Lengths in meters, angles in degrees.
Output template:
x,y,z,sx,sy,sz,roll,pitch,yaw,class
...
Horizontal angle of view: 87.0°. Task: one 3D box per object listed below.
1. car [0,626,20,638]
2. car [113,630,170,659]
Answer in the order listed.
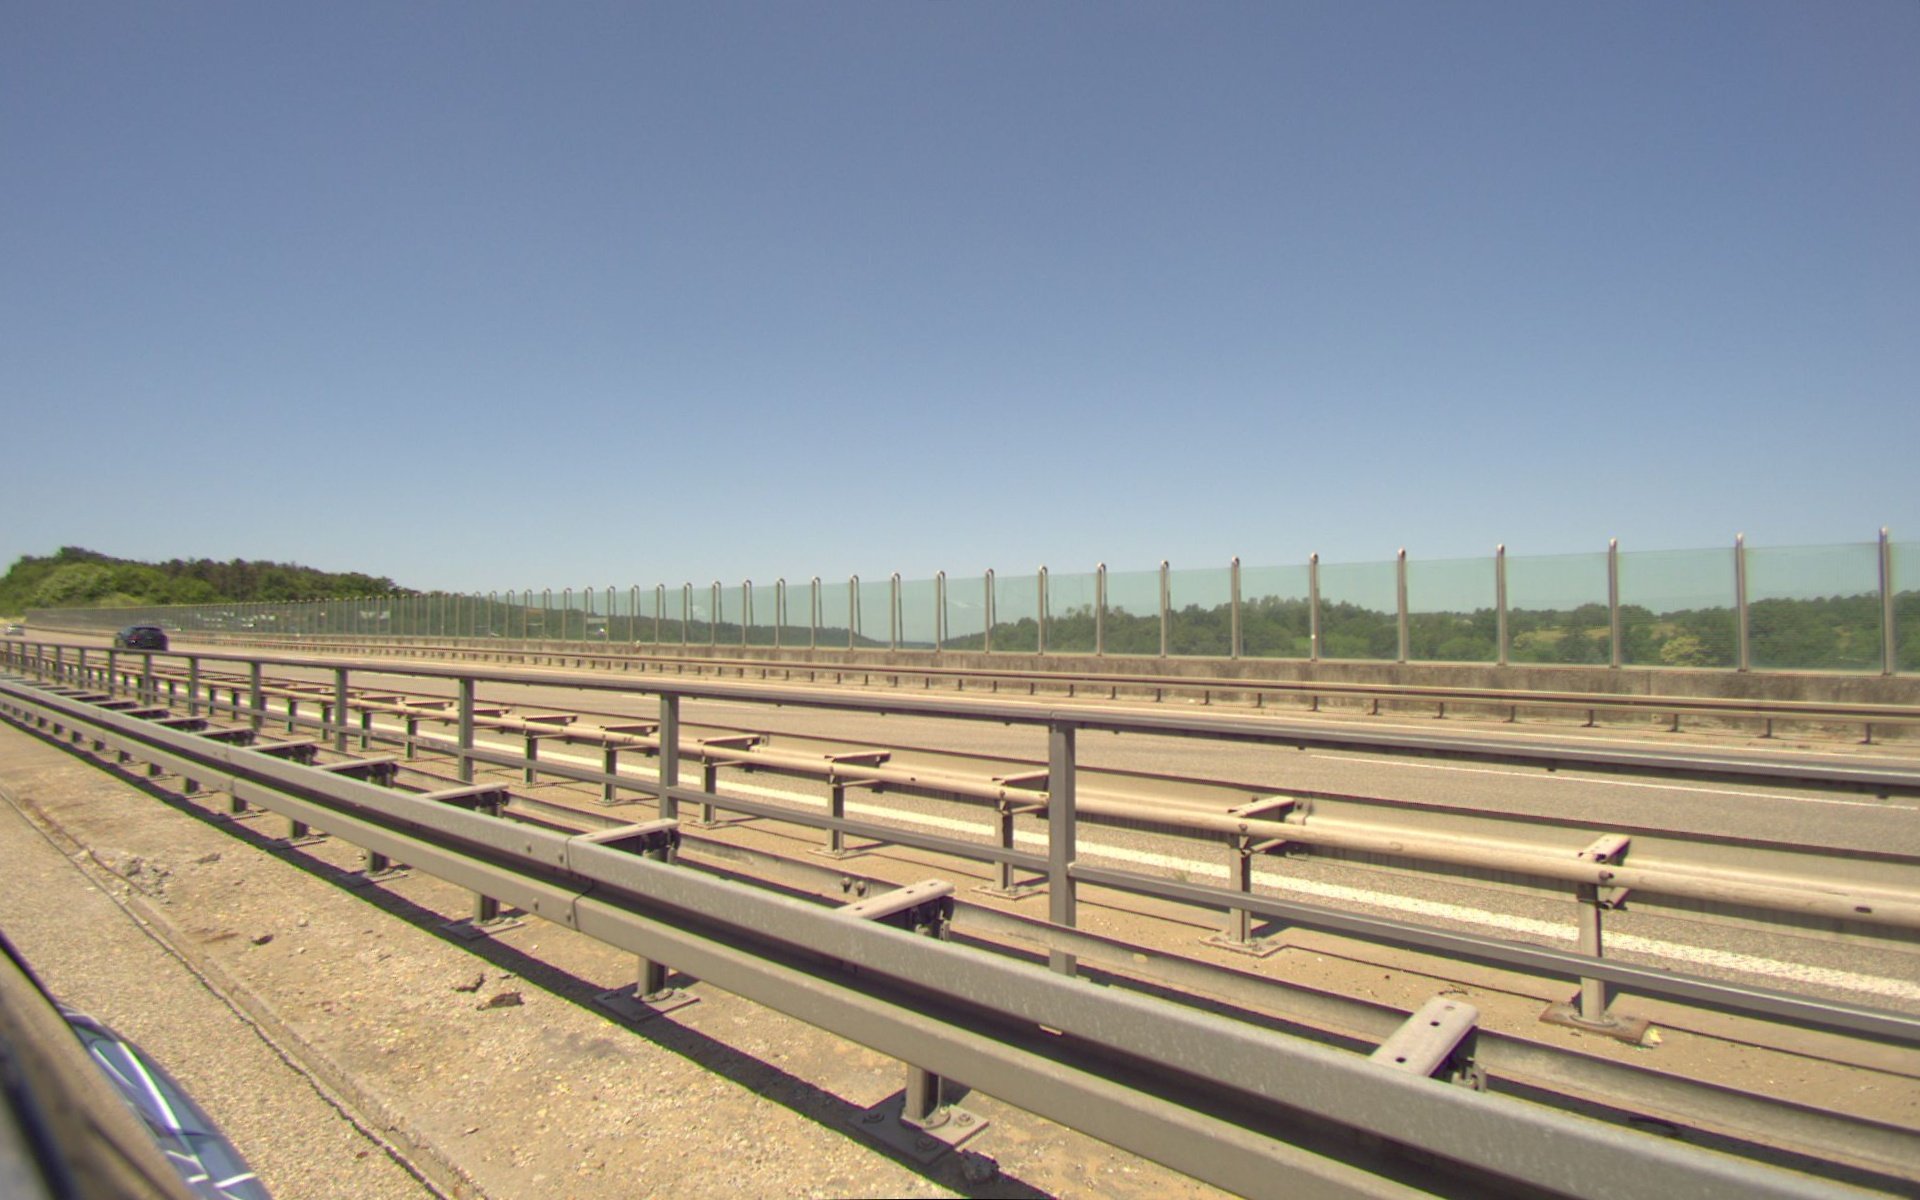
x,y,z,sx,sy,sz,roll,pitch,yaw,class
-119.329,4.034,127.049,3.675,1.405,1.588,-1,-3,41,car
-46.276,2.514,57.195,4.386,1.581,1.761,-1,-4,42,car
